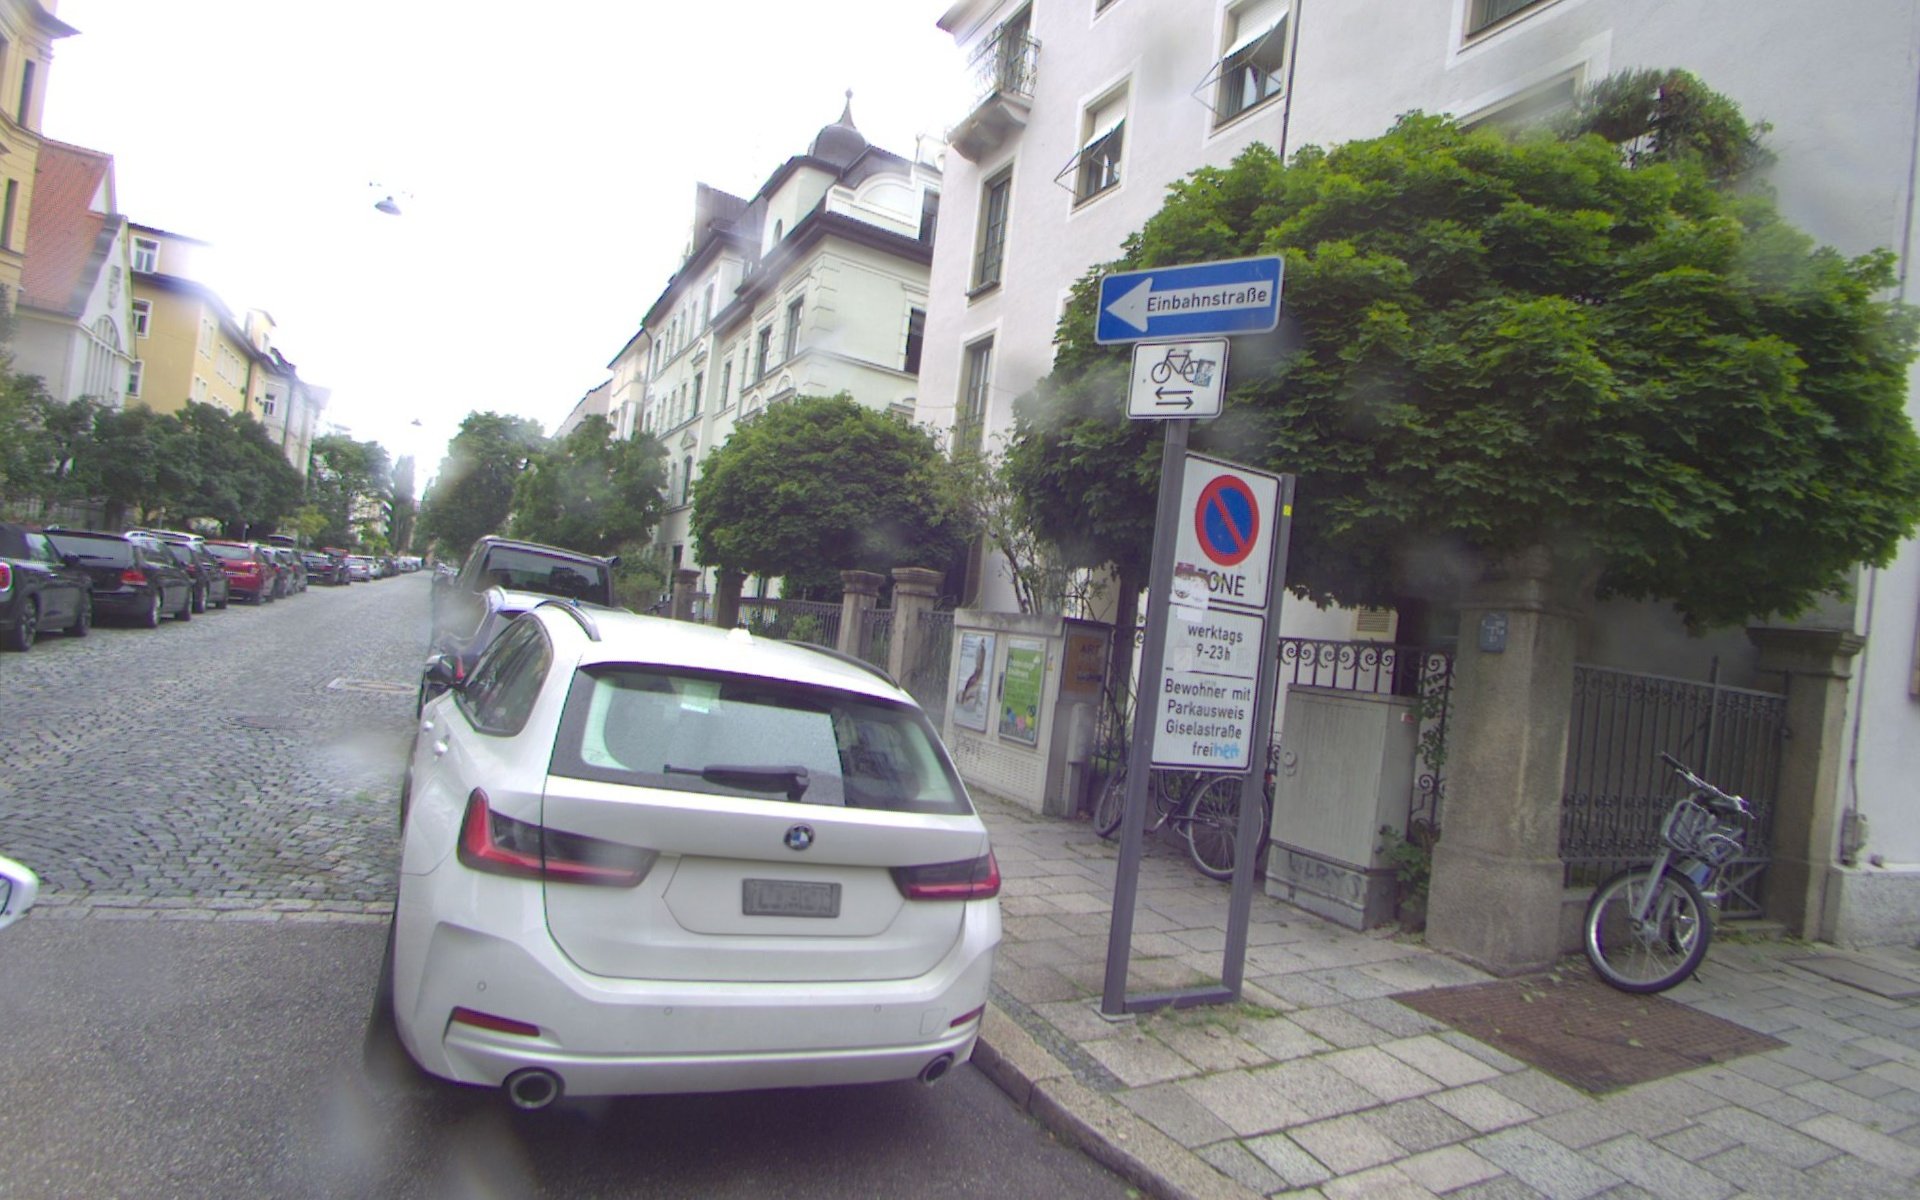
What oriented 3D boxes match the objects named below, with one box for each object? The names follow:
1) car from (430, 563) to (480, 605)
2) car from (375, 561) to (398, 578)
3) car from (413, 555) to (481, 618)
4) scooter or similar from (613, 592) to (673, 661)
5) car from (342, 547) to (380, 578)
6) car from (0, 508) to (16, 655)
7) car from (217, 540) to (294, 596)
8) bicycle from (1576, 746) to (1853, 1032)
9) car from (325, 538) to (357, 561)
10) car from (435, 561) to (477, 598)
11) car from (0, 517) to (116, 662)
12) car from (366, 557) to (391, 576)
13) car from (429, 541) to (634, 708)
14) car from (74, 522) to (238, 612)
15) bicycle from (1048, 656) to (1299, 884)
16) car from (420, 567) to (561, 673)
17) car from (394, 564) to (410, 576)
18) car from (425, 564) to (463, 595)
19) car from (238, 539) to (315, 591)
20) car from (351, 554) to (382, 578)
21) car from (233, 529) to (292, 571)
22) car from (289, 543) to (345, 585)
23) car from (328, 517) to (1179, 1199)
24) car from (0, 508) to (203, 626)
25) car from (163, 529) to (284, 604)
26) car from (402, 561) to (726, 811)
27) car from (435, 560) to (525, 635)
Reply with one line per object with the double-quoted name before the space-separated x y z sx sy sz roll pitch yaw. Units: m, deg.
"car" -20.620 -0.656 41.153 1.580 1.522 3.245 3 0 -24
"car" -59.872 -3.157 105.075 1.904 1.656 3.713 4 0 -29
"car" -15.841 -0.420 31.151 1.645 1.655 3.518 7 -1 -26
"scooter or similar" -6.671 0.572 21.233 0.618 1.349 1.604 4 -1 2
"car" -39.395 -2.455 66.252 1.904 1.862 3.713 3 0 -29
"car" -9.568 -0.165 8.020 1.790 1.524 5.138 5 0 -30
"car" -20.877 -0.936 29.909 1.418 1.478 2.634 3 0 -26
"bicycle" 4.059 1.462 5.366 1.760 1.240 0.539 7 0 -34
"car" -50.130 -4.069 81.479 1.904 1.656 3.713 4 0 -29
"car" -25.121 -1.030 50.088 1.646 1.656 3.424 3 0 -29
"car" -11.756 -0.240 12.101 1.689 1.535 3.699 5 0 -29
"car" -54.870 -3.121 94.935 1.904 1.656 3.713 4 0 -29
"car" -5.998 0.233 13.698 2.005 1.710 4.817 8 -1 -28
"car" -16.567 -0.660 20.963 1.904 1.566 3.973 4 0 -28
"bicycle" 1.447 1.136 7.213 0.463 1.290 1.905 8 -2 -30
"car" -8.704 0.290 18.575 1.907 1.449 4.770 10 -3 -27
"car" -80.370 -4.343 144.968 1.904 1.656 3.713 4 0 -29
"car" -27.875 -1.107 54.294 1.646 1.484 3.424 3 0 -29
"car" -24.059 -1.220 35.514 1.645 1.552 3.463 7 -1 -26
"car" -45.693 -2.615 77.503 1.904 1.656 3.713 4 0 -29
"car" -32.554 -2.294 47.038 1.765 1.654 3.712 8 -2 -29
"car" -30.412 -1.691 47.656 1.908 1.654 3.711 8 -2 -30
"car" -1.443 0.671 4.561 1.893 1.548 4.888 10 -3 -28
"car" -13.786 -0.503 16.290 1.710 1.560 4.308 3 0 -28
"car" -18.851 -0.829 25.925 1.904 1.656 3.780 4 0 -28
"car" -3.795 0.585 9.057 1.915 1.523 4.842 9 -3 -28
"car" -13.329 -0.103 27.912 1.906 1.653 4.021 10 -3 -26
